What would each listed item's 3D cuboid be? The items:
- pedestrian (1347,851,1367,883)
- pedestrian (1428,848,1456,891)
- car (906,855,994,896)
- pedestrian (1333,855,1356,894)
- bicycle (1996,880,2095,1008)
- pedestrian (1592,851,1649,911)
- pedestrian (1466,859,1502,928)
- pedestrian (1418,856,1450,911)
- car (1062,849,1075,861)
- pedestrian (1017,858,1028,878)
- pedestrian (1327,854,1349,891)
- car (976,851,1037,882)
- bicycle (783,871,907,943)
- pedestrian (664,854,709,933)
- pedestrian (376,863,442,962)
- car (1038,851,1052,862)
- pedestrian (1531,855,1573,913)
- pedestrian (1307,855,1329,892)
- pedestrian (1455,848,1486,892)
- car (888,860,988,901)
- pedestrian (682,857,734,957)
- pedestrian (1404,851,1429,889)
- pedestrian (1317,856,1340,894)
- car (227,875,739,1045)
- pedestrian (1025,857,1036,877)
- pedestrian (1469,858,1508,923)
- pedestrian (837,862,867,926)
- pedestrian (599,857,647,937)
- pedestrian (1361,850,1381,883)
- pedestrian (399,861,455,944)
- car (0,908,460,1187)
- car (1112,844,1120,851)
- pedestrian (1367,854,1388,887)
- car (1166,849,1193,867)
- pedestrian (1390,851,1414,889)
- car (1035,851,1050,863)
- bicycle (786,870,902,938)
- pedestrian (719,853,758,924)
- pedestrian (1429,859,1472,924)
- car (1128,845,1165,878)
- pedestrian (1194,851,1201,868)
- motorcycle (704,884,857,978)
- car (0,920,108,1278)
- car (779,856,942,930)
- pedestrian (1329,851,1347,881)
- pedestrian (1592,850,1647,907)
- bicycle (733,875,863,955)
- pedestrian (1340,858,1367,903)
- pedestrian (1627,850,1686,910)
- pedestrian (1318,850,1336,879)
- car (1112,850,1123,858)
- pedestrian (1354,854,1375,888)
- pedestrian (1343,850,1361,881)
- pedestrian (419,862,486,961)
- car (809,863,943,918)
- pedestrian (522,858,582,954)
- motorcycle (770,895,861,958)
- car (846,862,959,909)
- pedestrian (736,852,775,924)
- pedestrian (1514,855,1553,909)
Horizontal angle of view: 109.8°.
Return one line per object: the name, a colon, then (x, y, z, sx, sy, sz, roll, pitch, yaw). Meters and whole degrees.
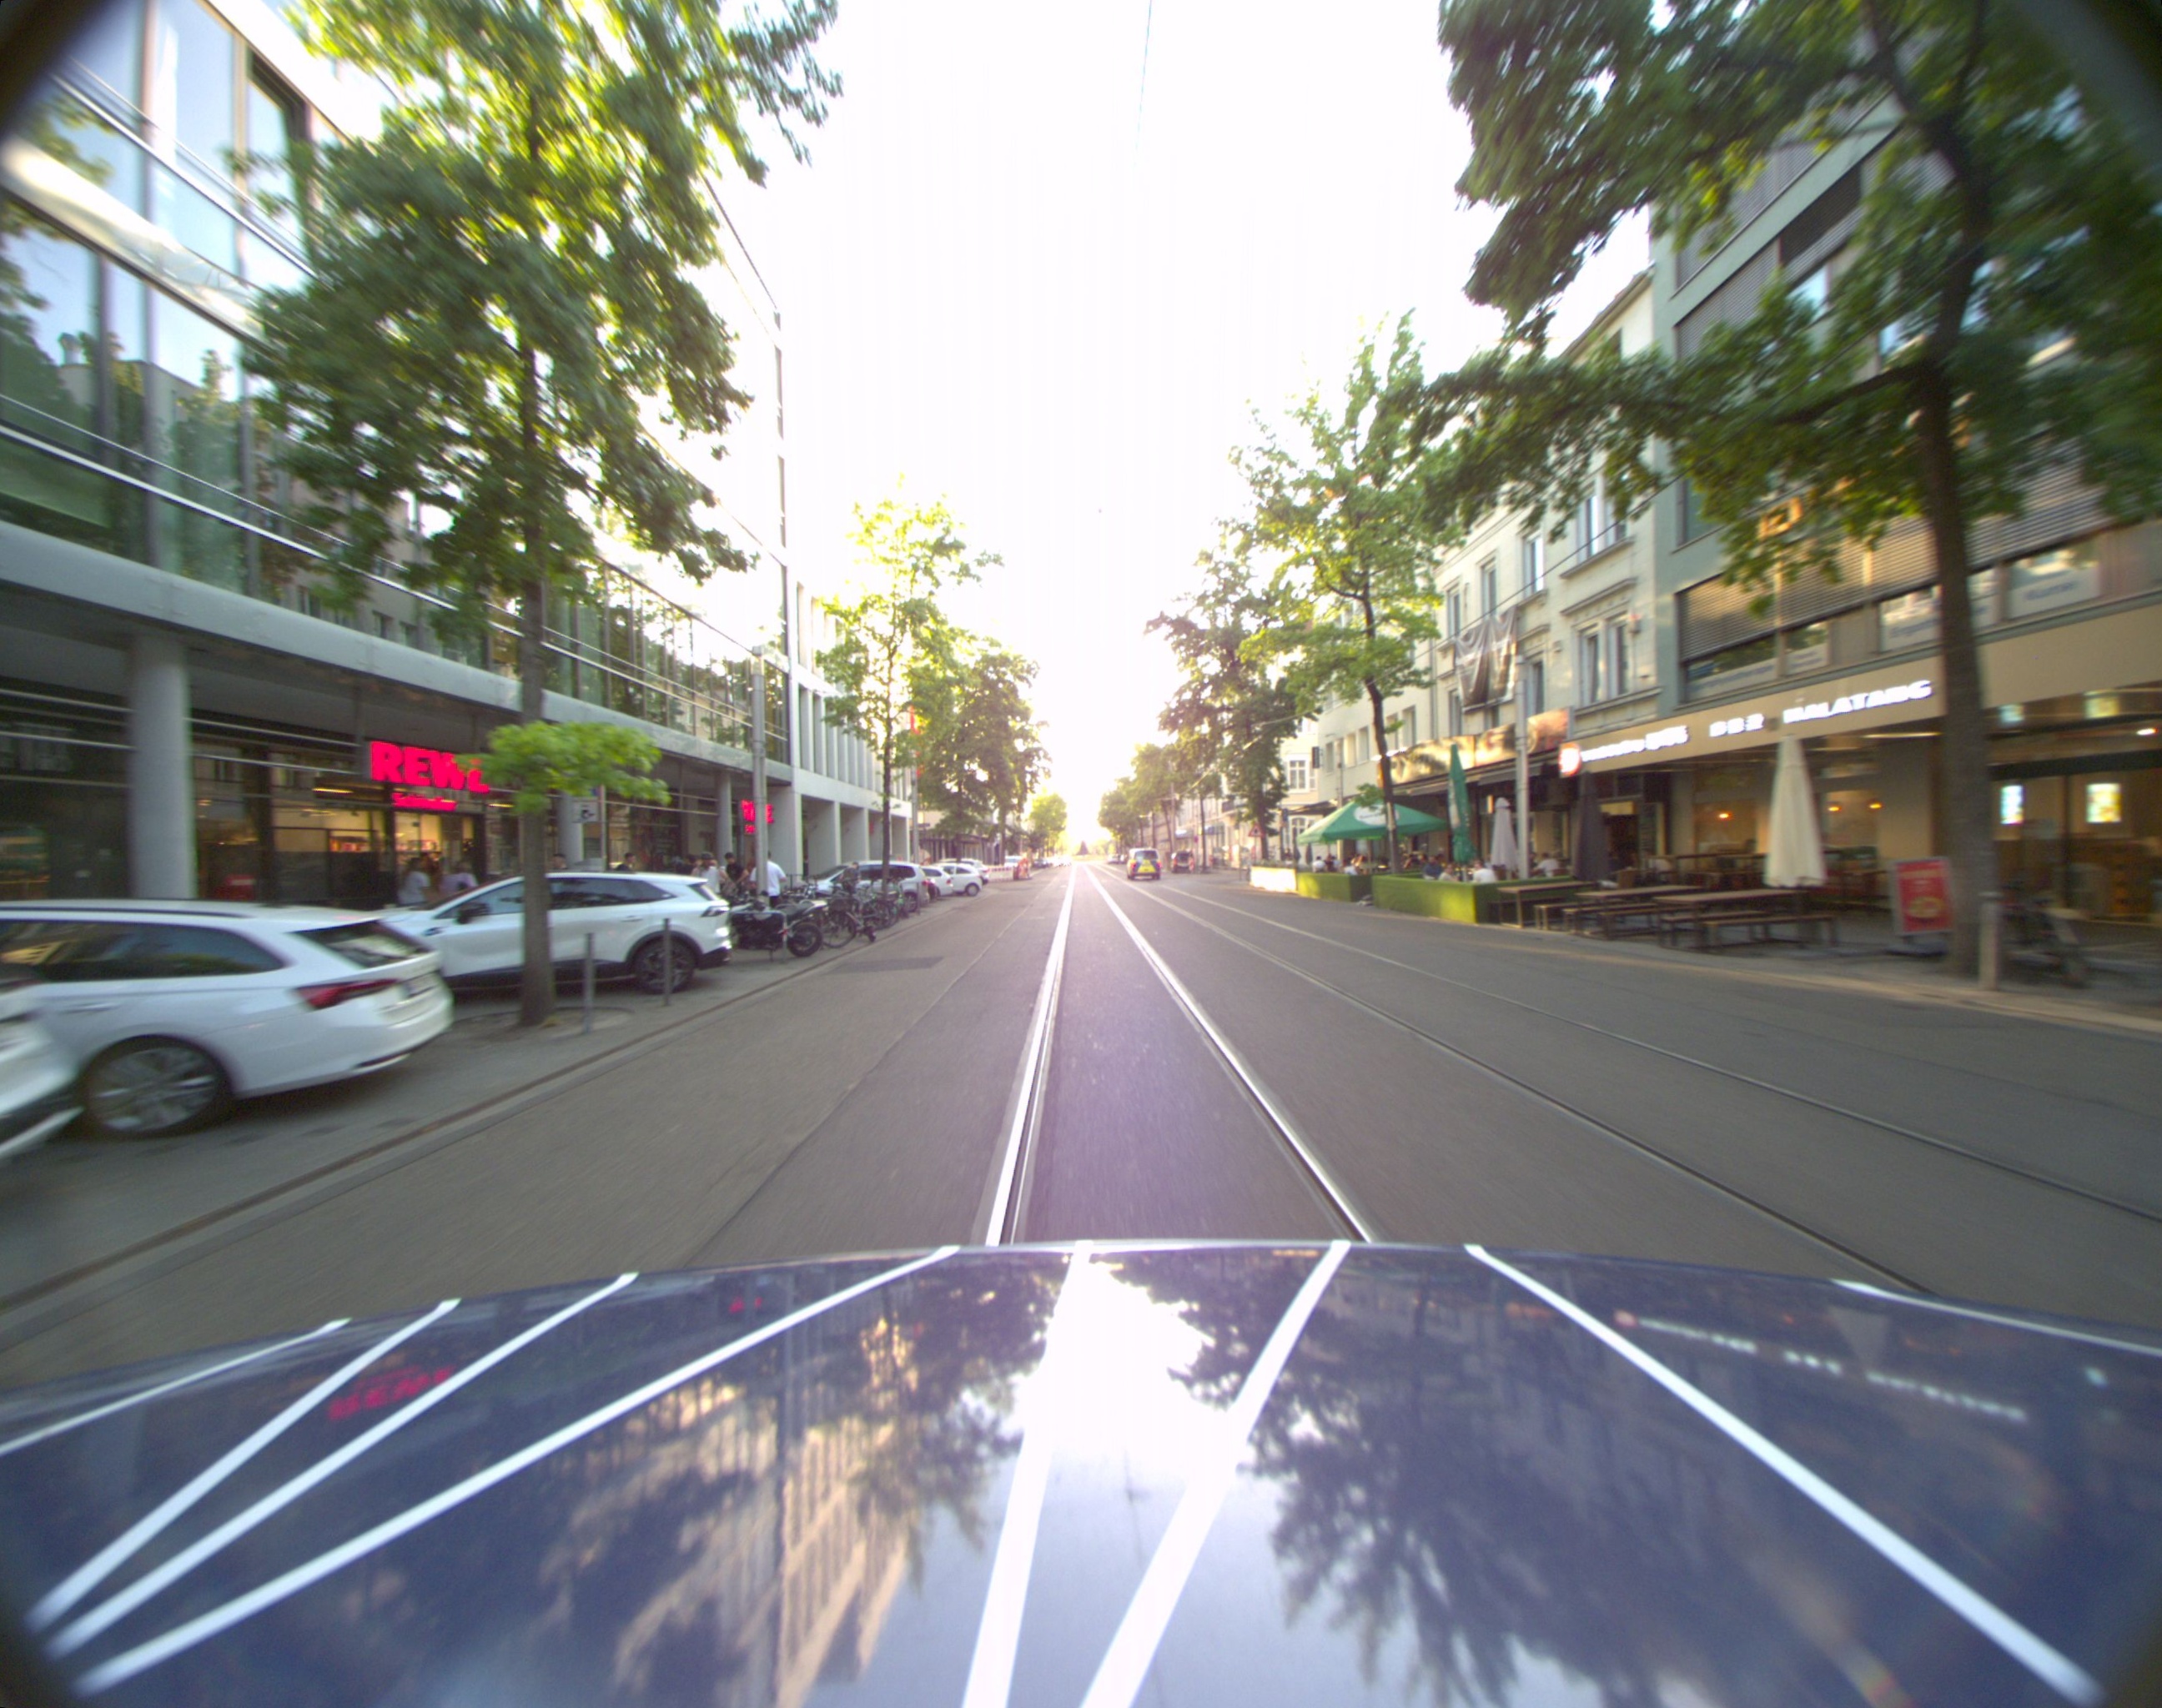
pedestrian: (12.619, 0.598, 34.732, 0.650, 1.451, 0.650, -1, 1, -2)
pedestrian: (12.453, 0.538, 26.219, 0.650, 1.451, 0.650, -1, 1, -3)
car: (-6.723, 1.077, 39.086, 4.004, 1.776, 1.862, -4, 1, -24)
pedestrian: (9.626, 0.737, 27.727, 0.649, 1.378, 0.650, -1, 1, 7)
bicycle: (9.836, 0.856, 7.788, 1.803, 1.101, 0.499, -2, 1, -42)
pedestrian: (12.181, 0.597, 17.164, 0.701, 1.308, 0.786, -1, 1, -4)
pedestrian: (8.827, 0.855, 16.634, 0.648, 1.451, 0.651, -1, 1, 30)
pedestrian: (9.524, 0.784, 20.535, 0.649, 1.451, 0.651, -1, 1, 13)
car: (-1.948, 0.153, 122.340, 1.998, 2.002, 4.000, -1, 0, 1)
pedestrian: (-4.244, 1.014, 54.965, 0.650, 1.451, 0.649, -2, 1, -16)
pedestrian: (9.814, 0.716, 28.981, 0.649, 1.378, 0.650, -1, 1, 7)
car: (-5.054, 0.826, 51.949, 1.860, 1.776, 4.007, -4, 1, 35)
bicycle: (-5.643, 1.237, 18.254, 2.677, 1.448, 0.728, -4, 1, -27)
pedestrian: (-8.635, 0.858, 16.669, 0.618, 1.681, 0.628, -1, 1, 0)
pedestrian: (-11.809, 1.017, 13.370, 0.558, 1.681, 0.628, -1, 1, 1)
car: (-5.432, 0.306, 114.353, 1.793, 1.499, 3.999, -2, 1, 1)
pedestrian: (12.211, 0.764, 19.706, 0.650, 1.451, 0.649, -2, 1, -8)
pedestrian: (9.038, 0.745, 28.999, 0.649, 1.378, 0.650, -1, 1, 7)
pedestrian: (12.962, 0.529, 25.302, 0.650, 1.451, 0.650, -1, 1, -3)
car: (-6.456, 1.169, 34.374, 4.005, 1.501, 1.861, -4, 1, -29)
pedestrian: (-6.876, 0.965, 14.027, 0.618, 1.789, 0.628, -1, 1, 0)
pedestrian: (13.092, 0.614, 29.692, 0.650, 1.451, 0.650, -1, 1, -3)
pedestrian: (9.033, 0.759, 27.758, 0.649, 1.378, 0.650, -1, 1, 7)
car: (-6.992, 1.098, 9.554, 4.646, 1.578, 1.913, 0, 0, -34)
pedestrian: (-3.856, 0.970, 57.583, 0.650, 1.451, 0.649, -2, 1, -16)
pedestrian: (9.338, 0.826, 17.417, 0.649, 1.451, 0.651, -1, 1, 17)
pedestrian: (-6.154, 1.065, 20.448, 0.618, 1.681, 0.628, -1, 1, -4)
pedestrian: (-9.872, 0.909, 16.395, 0.618, 1.681, 0.628, -1, 1, 0)
pedestrian: (13.294, 0.570, 34.868, 0.650, 1.451, 0.650, -1, 1, -2)
pedestrian: (-13.565, 0.996, 15.772, 0.628, 1.681, 0.558, -1, 1, -2)
car: (-7.220, 1.189, 4.923, 4.644, 1.431, 1.914, 1, 0, -27)
car: (8.464, -1.618, 183.862, 1.799, 1.501, 4.000, -1, 0, 1)
pedestrian: (13.177, 0.728, 33.800, 0.650, 1.451, 0.650, -1, 1, -3)
car: (8.444, 0.337, 65.249, 1.799, 1.501, 4.000, -1, 0, 1)
pedestrian: (12.588, 0.632, 29.817, 0.650, 1.451, 0.650, -1, 1, -3)
car: (-5.372, 0.389, 106.732, 1.793, 1.499, 3.999, -2, 1, 1)
bicycle: (-6.018, 1.239, 19.362, 2.677, 1.448, 0.675, -4, 1, -26)
pedestrian: (-8.266, 0.824, 18.349, 0.618, 1.681, 0.628, -1, 1, 0)
pedestrian: (8.543, 0.855, 17.575, 0.649, 1.451, 0.650, -1, 1, 1)
car: (4.157, 0.457, 48.843, 1.998, 2.002, 4.000, -1, 0, 1)
pedestrian: (10.391, 0.507, 67.967, 0.490, 1.451, 0.543, -1, 1, -1)
motorcycle: (-5.042, 1.233, 12.856, 1.153, 1.346, 2.115, 1, 0, 41)
car: (-6.938, 1.133, 2.221, 4.646, 1.619, 1.914, 1, -2, -32)
car: (-6.895, 1.166, 24.012, 4.474, 1.869, 1.796, -5, 1, -37)
pedestrian: (12.478, 0.579, 36.903, 0.650, 1.451, 0.650, -1, 1, -2)
pedestrian: (12.806, 0.562, 18.086, 0.701, 1.308, 0.786, -1, 1, -4)
bicycle: (-6.105, 1.277, 16.457, 2.492, 1.448, 0.656, -4, 1, -25)
pedestrian: (8.558, 0.810, 23.846, 0.649, 1.378, 0.650, -1, 1, 7)
pedestrian: (12.912, 0.570, 17.061, 0.701, 1.308, 0.786, -1, 1, -4)
pedestrian: (12.652, 0.548, 39.074, 0.650, 1.451, 0.650, -1, 1, -2)
car: (6.657, -0.009, 137.504, 1.799, 1.501, 4.000, -1, 0, 1)
pedestrian: (12.599, 0.750, 33.799, 0.650, 1.451, 0.650, -1, 1, -3)
pedestrian: (13.181, 0.551, 36.959, 0.650, 1.451, 0.650, -1, 1, -2)
pedestrian: (-11.040, 0.987, 13.362, 0.618, 1.681, 0.628, -1, 1, 0)
car: (-7.046, 1.227, 26.330, 4.006, 1.501, 1.796, -4, 1, -37)
pedestrian: (-9.624, 0.928, 13.840, 0.618, 1.681, 0.628, -1, 1, 0)
motorcycle: (-5.056, 1.355, 14.476, 1.573, 1.093, 0.627, 0, 1, -25)
car: (-7.231, 1.239, 30.830, 4.005, 1.501, 1.796, -4, 1, -29)
pedestrian: (-7.847, 0.808, 18.332, 0.618, 1.681, 0.628, -1, 1, 0)
pedestrian: (12.306, 0.749, 20.662, 0.650, 1.451, 0.650, -1, 1, -2)
